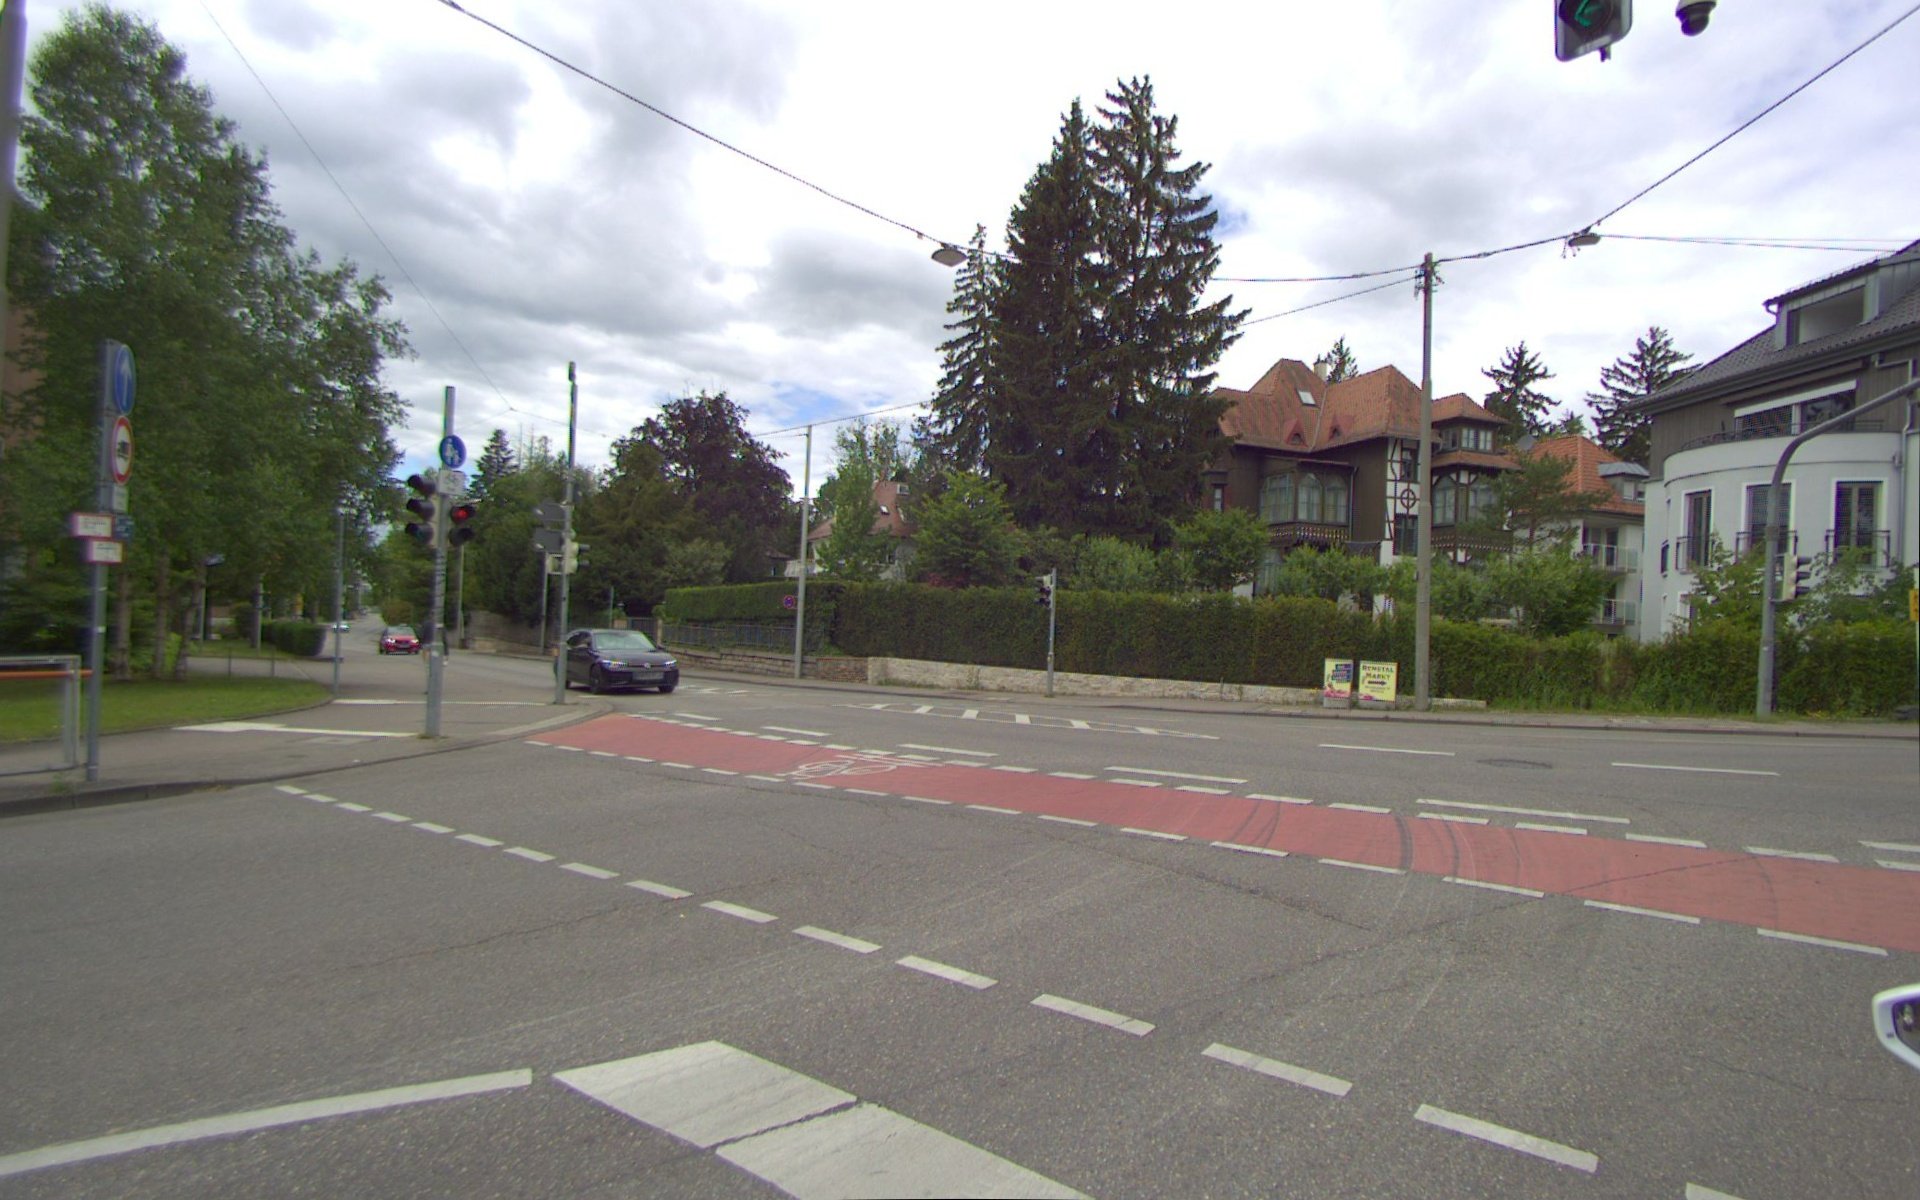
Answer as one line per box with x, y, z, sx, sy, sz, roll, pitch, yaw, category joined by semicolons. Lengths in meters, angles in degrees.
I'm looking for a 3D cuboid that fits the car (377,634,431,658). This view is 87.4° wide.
-31.259;2.577;56.427;1.984;1.216;3.954;2;-1;-39;car

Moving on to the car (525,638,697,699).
-8.200;1.574;23.500;3.938;1.260;1.992;-1;-4;38;car
